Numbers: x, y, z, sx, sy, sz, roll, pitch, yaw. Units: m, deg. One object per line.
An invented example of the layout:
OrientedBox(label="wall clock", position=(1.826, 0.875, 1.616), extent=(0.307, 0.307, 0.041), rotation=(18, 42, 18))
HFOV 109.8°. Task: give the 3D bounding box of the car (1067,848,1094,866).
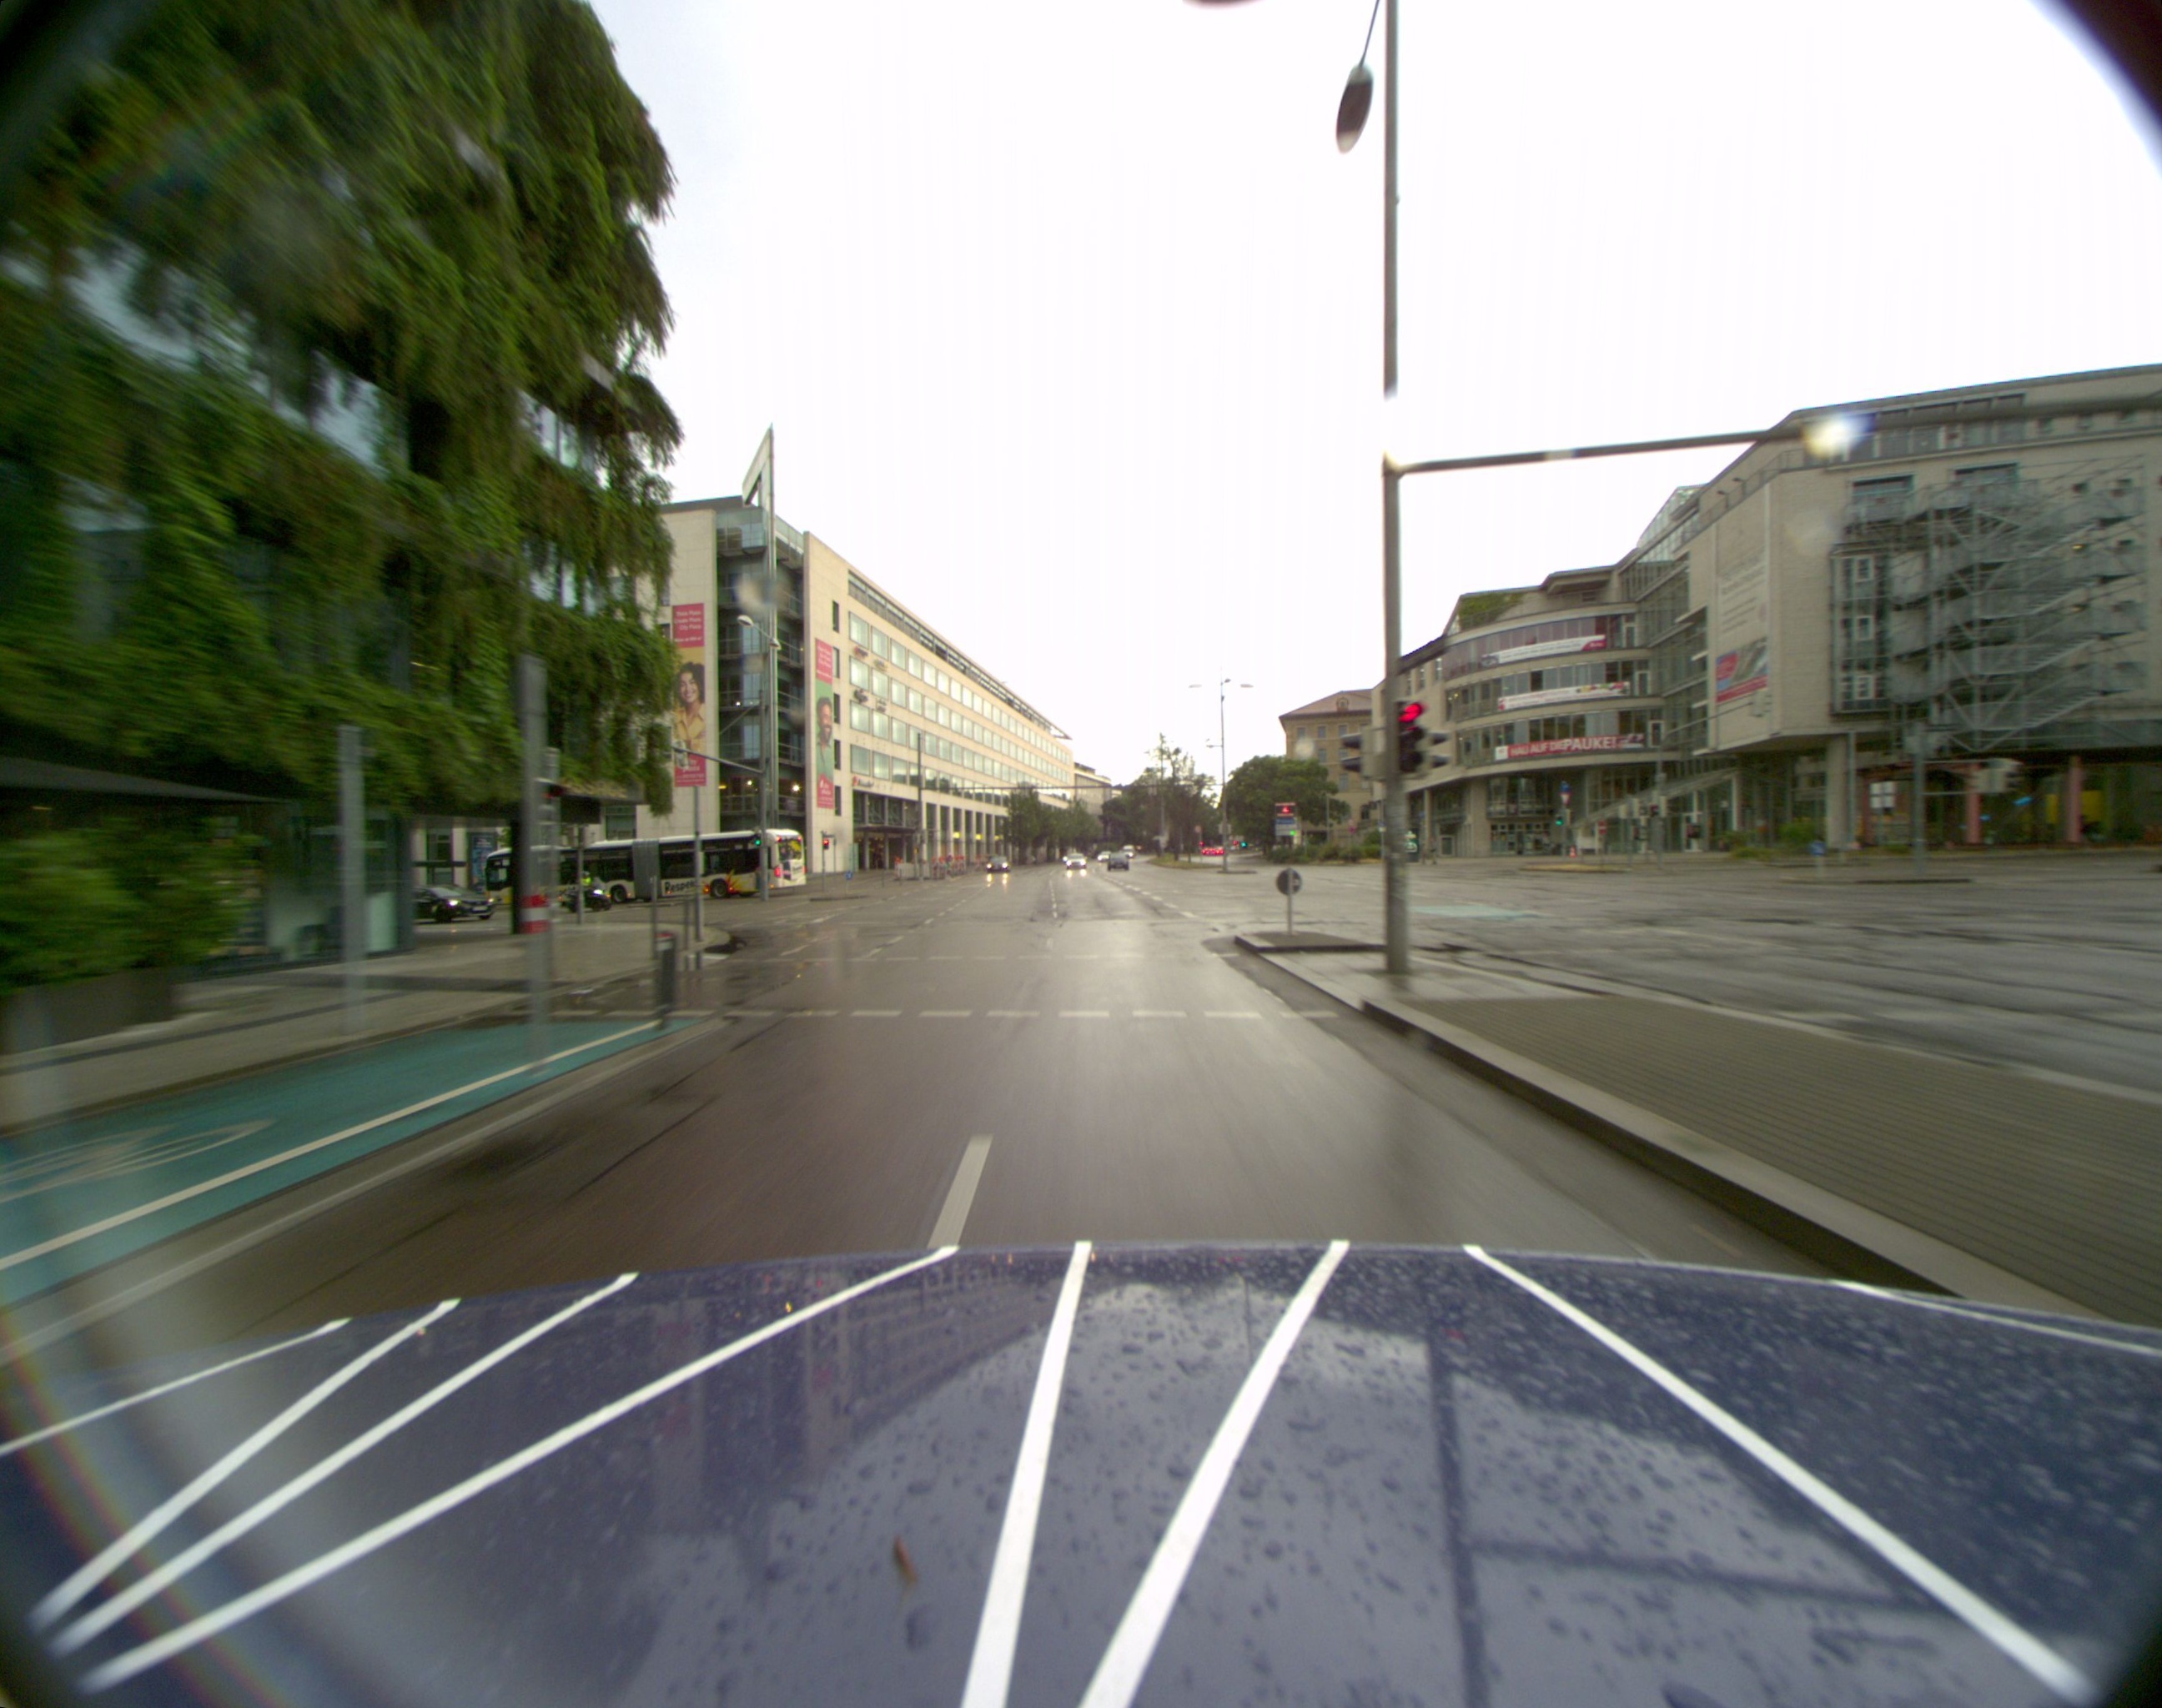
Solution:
OrientedBox(label="car", position=(-0.025, 0.242, 71.804), extent=(1.978, 1.543, 4.673), rotation=(-1, 1, 7))

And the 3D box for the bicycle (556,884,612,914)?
OrientedBox(label="bicycle", position=(-21.079, 1.899, 32.213), extent=(2.086, 1.129, 0.810), rotation=(-3, 1, 18))

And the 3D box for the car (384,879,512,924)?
OrientedBox(label="car", position=(-25.411, 1.904, 30.518), extent=(4.195, 1.490, 1.830), rotation=(-3, 0, 16))

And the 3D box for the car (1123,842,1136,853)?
OrientedBox(label="car", position=(9.743, -1.255, 152.043), extent=(1.997, 2.002, 4.003), rotation=(-2, 0, 11))

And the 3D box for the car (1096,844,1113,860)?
OrientedBox(label="car", position=(3.246, -0.312, 105.449), extent=(1.978, 2.116, 5.107), rotation=(-2, 0, 5))

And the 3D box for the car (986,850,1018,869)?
OrientedBox(label="car", position=(-6.993, 0.483, 67.678), extent=(1.738, 1.543, 4.672), rotation=(-1, 1, 7))

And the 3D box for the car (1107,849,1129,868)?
OrientedBox(label="car", position=(2.962, 0.334, 61.278), extent=(1.723, 1.424, 4.000), rotation=(-2, 0, 2))

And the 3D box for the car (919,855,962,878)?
OrientedBox(label="car", position=(-10.198, 0.874, 55.652), extent=(1.738, 1.543, 4.673), rotation=(-1, 1, 7))

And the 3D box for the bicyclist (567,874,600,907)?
OrientedBox(label="bicyclist", position=(-21.069, 1.530, 32.203), extent=(0.742, 1.328, 0.797), rotation=(-3, 1, 18))

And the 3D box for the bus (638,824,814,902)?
OrientedBox(label="bus", position=(-18.382, 0.478, 39.474), extent=(8.075, 3.567, 2.689), rotation=(-2, 1, 11))

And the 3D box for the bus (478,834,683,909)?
OrientedBox(label="bus", position=(-27.143, 0.978, 41.274), extent=(10.305, 3.567, 2.689), rotation=(-2, 1, 12))
